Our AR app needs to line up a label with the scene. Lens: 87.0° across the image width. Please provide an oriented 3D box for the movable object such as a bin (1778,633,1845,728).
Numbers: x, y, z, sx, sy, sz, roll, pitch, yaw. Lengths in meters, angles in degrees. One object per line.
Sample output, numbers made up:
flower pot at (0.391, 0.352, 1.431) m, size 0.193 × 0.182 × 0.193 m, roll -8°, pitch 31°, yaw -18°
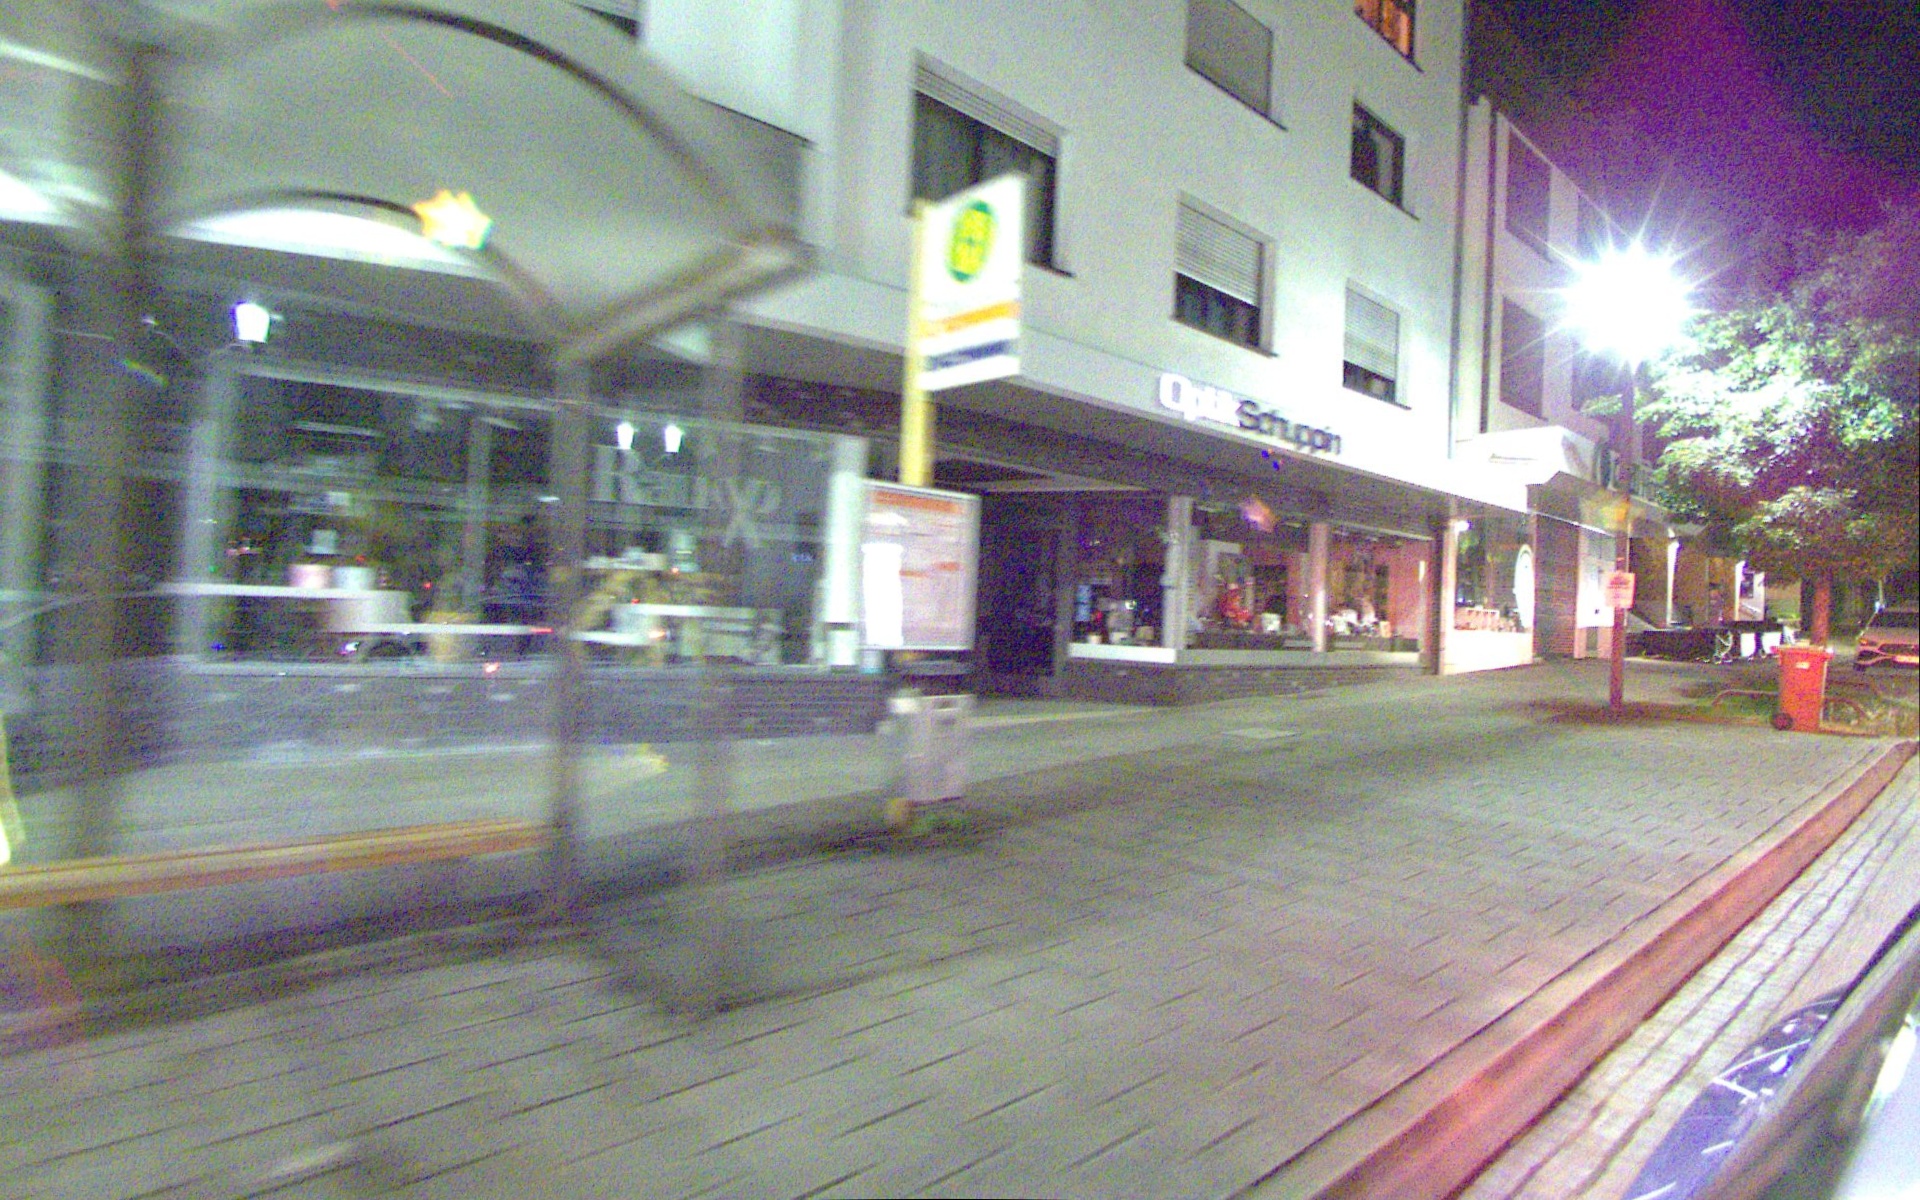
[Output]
movable object such as a bin at (9.192, 0.849, 10.938) m, size 0.523 × 0.949 × 0.621 m, roll 0°, pitch 1°, yaw 38°

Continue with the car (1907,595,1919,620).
car at (57.629, 0.434, 60.353) m, size 1.638 × 1.485 × 3.717 m, roll -1°, pitch 0°, yaw 43°

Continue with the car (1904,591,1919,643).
car at (32.957, 0.584, 33.901) m, size 1.788 × 1.661 × 4.309 m, roll 4°, pitch 3°, yaw 44°

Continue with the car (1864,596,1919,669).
car at (21.603, 0.686, 22.565) m, size 4.519 × 1.459 × 1.859 m, roll 0°, pitch 3°, yaw -45°
